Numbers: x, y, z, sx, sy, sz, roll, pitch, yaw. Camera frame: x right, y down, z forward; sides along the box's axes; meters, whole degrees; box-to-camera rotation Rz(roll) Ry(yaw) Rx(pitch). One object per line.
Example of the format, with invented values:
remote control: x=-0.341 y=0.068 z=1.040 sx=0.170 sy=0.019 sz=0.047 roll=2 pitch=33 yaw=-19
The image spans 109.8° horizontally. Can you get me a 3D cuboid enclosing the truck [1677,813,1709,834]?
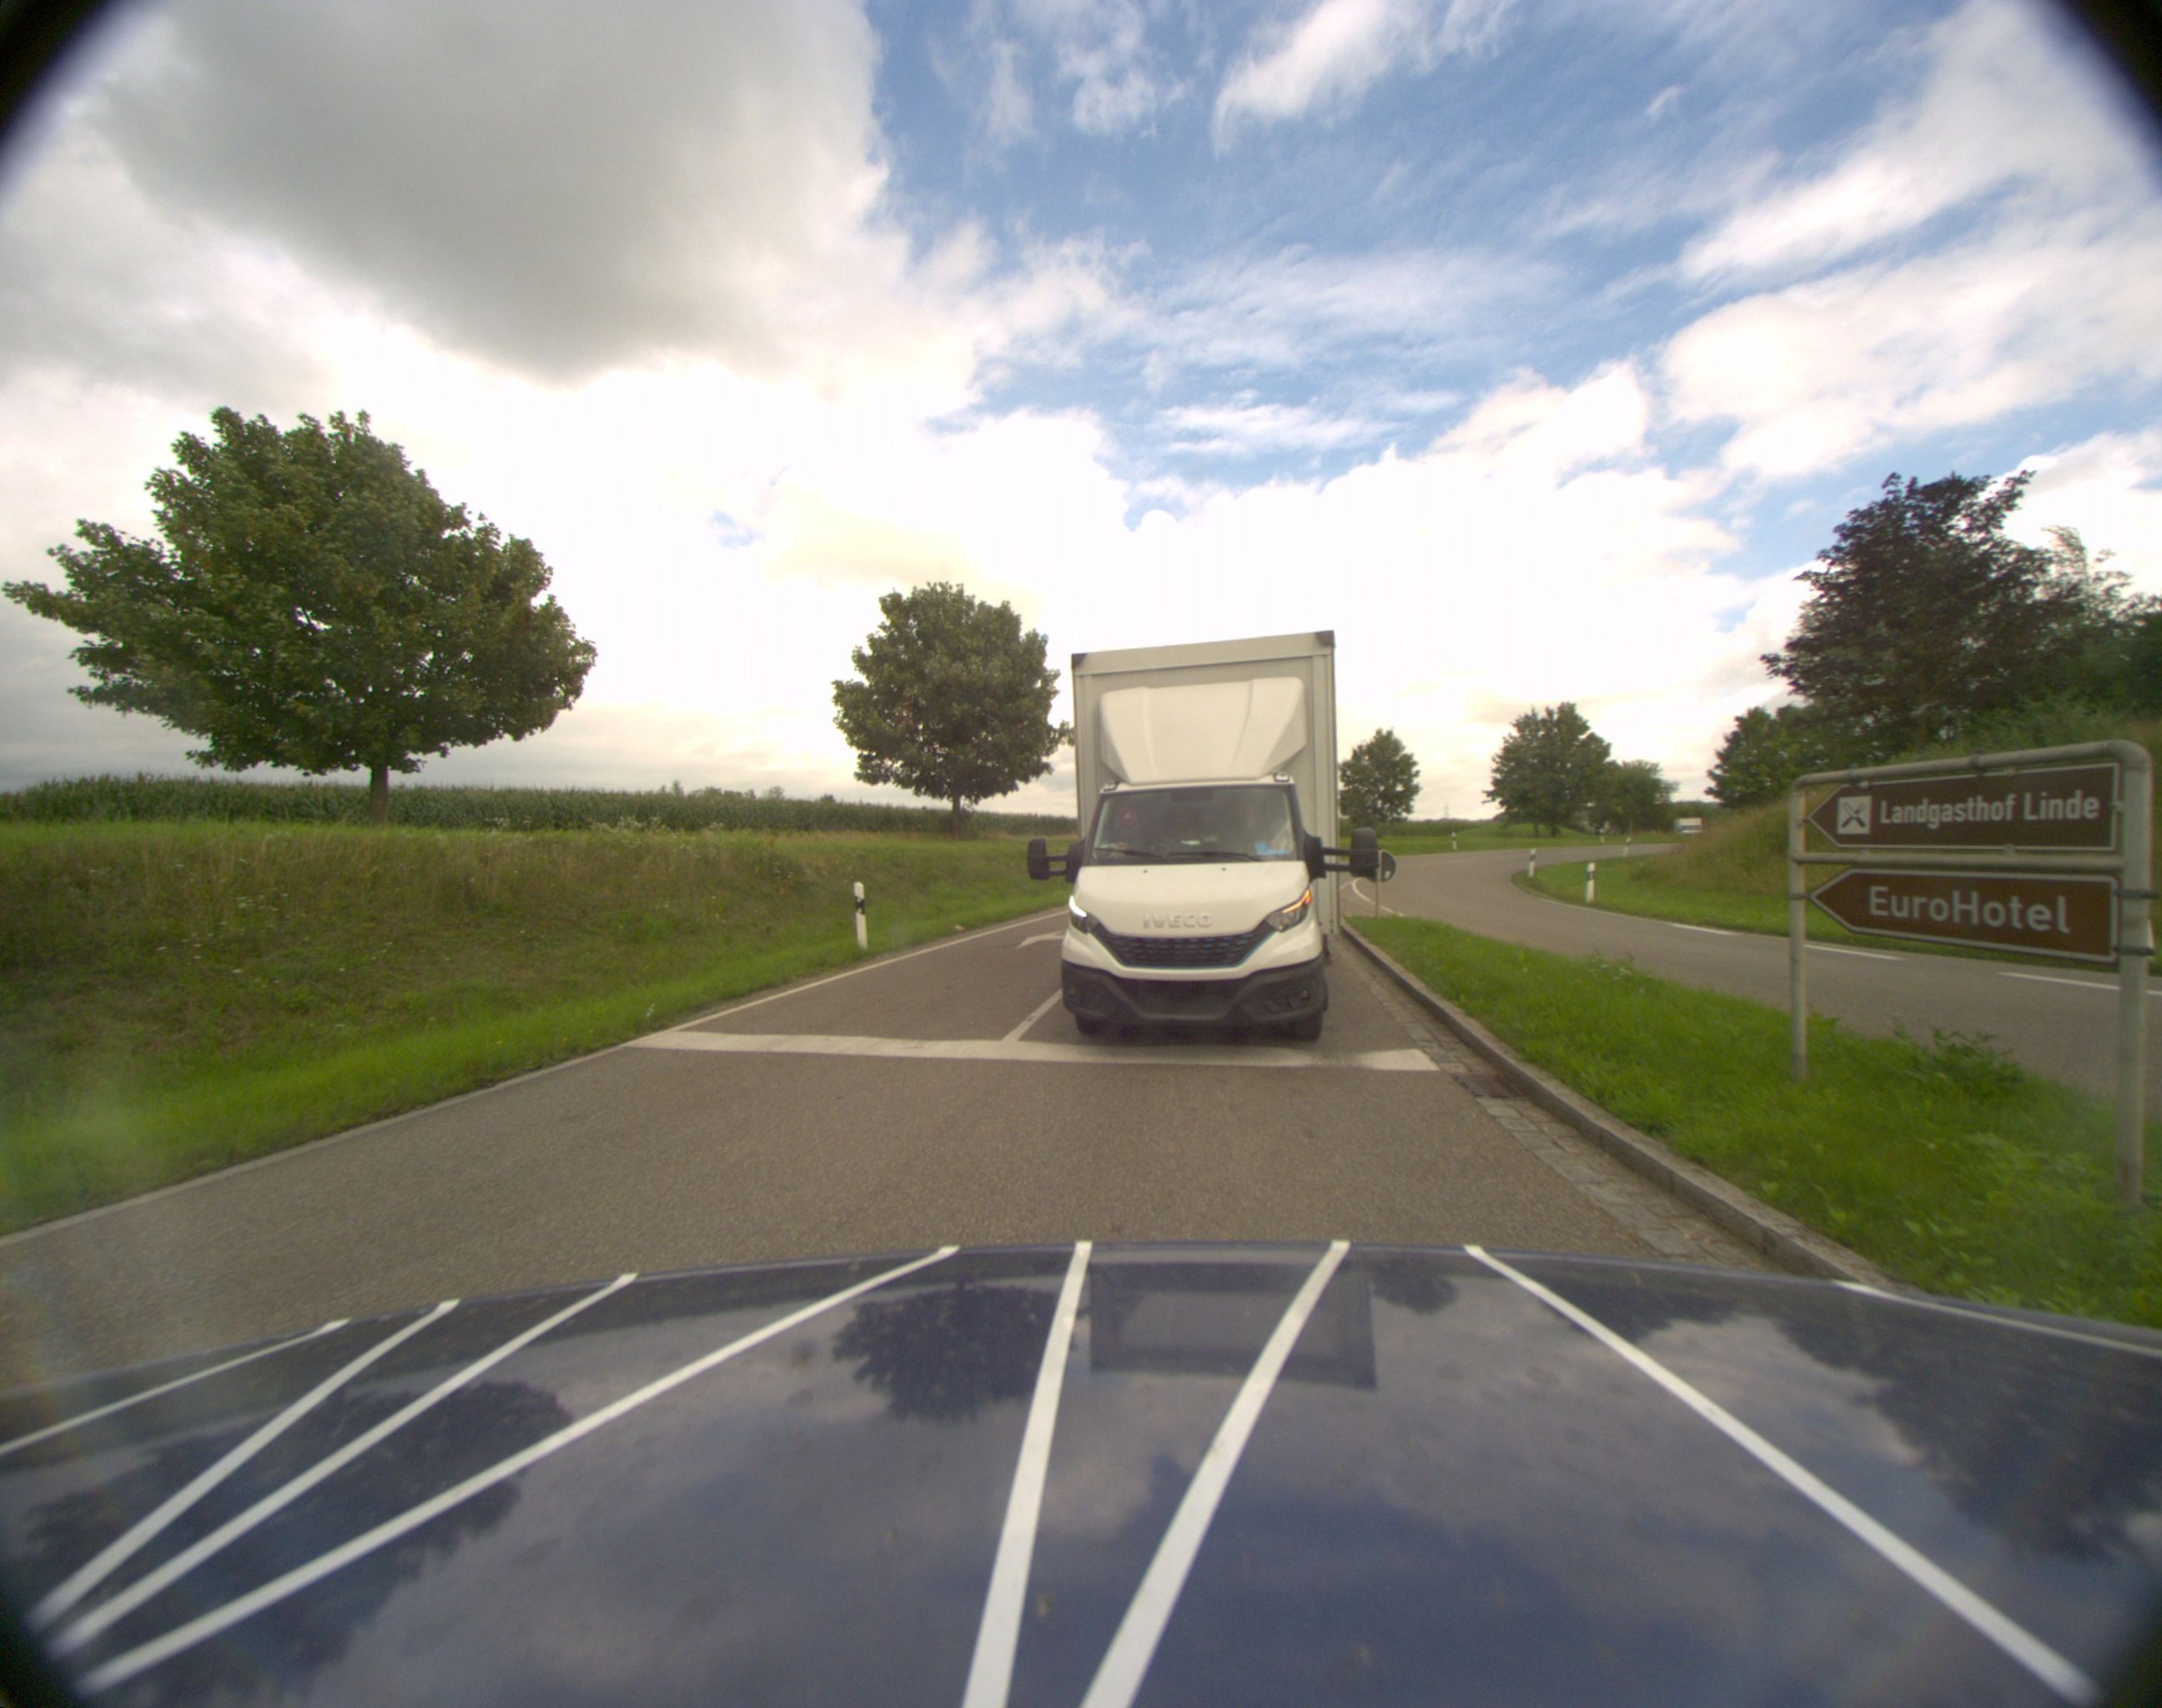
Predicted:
truck: x=77.028 y=-3.820 z=95.726 sx=2.286 sy=2.407 sz=6.393 roll=0 pitch=2 yaw=30

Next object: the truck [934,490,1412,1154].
truck: x=1.468 y=-0.301 z=8.882 sx=2.834 sy=3.743 sz=8.805 roll=0 pitch=2 yaw=13
